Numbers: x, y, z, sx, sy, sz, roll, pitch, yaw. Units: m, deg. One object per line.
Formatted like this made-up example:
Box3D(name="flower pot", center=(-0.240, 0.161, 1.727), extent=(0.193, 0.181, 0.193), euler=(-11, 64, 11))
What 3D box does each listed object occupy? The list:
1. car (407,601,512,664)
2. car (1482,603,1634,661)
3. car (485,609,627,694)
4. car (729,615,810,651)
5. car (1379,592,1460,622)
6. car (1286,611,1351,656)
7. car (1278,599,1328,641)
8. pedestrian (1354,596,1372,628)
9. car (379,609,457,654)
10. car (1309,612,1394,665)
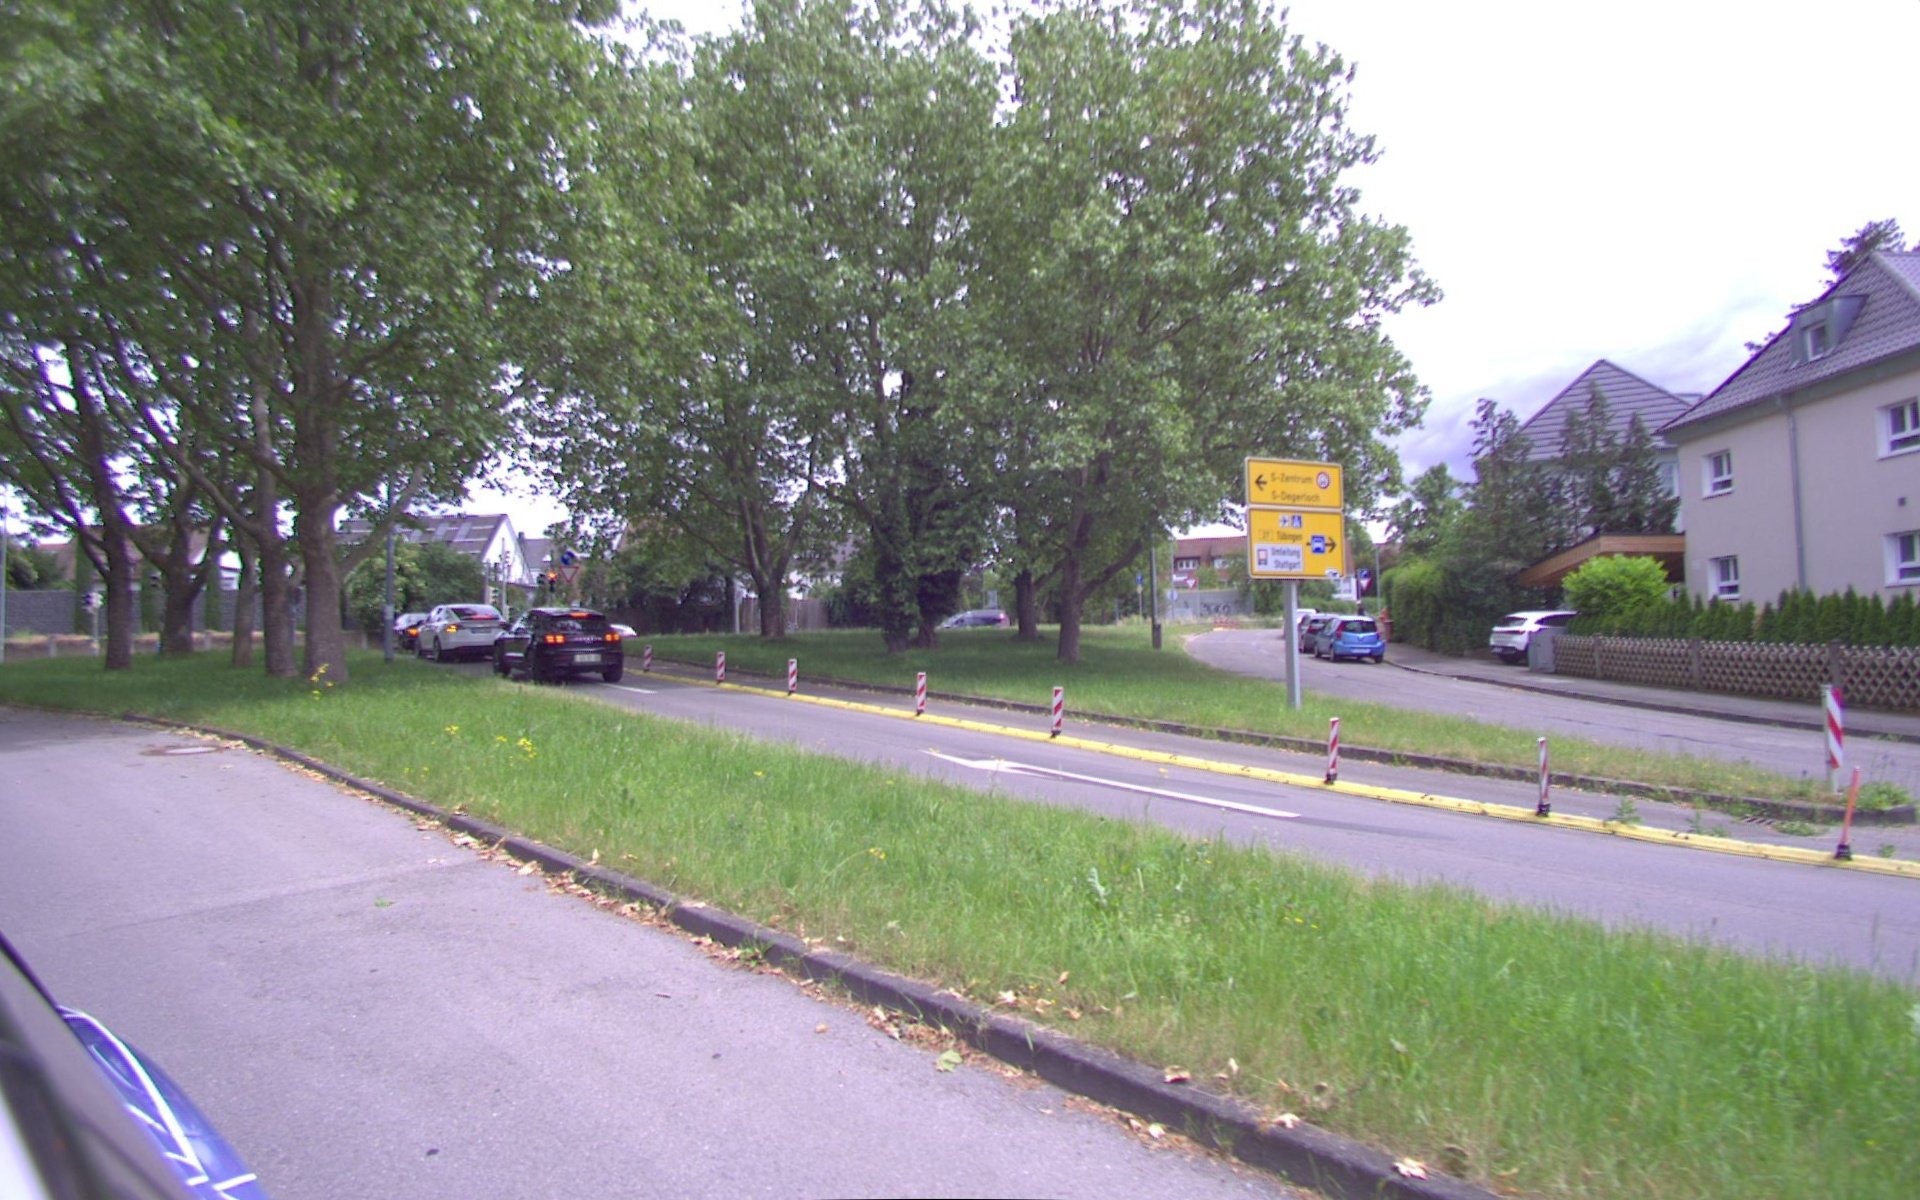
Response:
Box3D(name="car", center=(-15.124, 1.008, 30.415), extent=(1.828, 1.671, 4.915), euler=(0, -3, -38))
Box3D(name="car", center=(17.842, 0.974, 30.323), extent=(3.340, 1.559, 1.871), euler=(-3, -3, 8))
Box3D(name="car", center=(-9.160, 1.061, 22.718), extent=(1.734, 1.603, 4.622), euler=(0, 1, -38))
Box3D(name="car", center=(-9.180, 1.608, 48.741), extent=(3.584, 1.536, 1.655), euler=(2, -4, -18))
Box3D(name="car", center=(24.535, 0.372, 54.018), extent=(3.808, 1.529, 1.594), euler=(-1, -1, 29))
Box3D(name="car", center=(14.296, 1.300, 40.572), extent=(1.643, 1.525, 3.986), euler=(-3, 0, 9))
Box3D(name="car", center=(17.243, 0.957, 50.769), extent=(2.200, 1.804, 4.851), euler=(-3, 0, 20))
Box3D(name="pedestrian", center=(20.256, 0.611, 50.888), extent=(0.571, 1.576, 0.634), euler=(-5, -4, 40))
Box3D(name="car", center=(-19.647, 1.108, 36.594), extent=(1.734, 1.529, 4.395), euler=(0, -1, -38))
Box3D(name="car", center=(13.709, 1.315, 35.681), extent=(1.761, 1.566, 3.772), euler=(-3, 0, 6))
